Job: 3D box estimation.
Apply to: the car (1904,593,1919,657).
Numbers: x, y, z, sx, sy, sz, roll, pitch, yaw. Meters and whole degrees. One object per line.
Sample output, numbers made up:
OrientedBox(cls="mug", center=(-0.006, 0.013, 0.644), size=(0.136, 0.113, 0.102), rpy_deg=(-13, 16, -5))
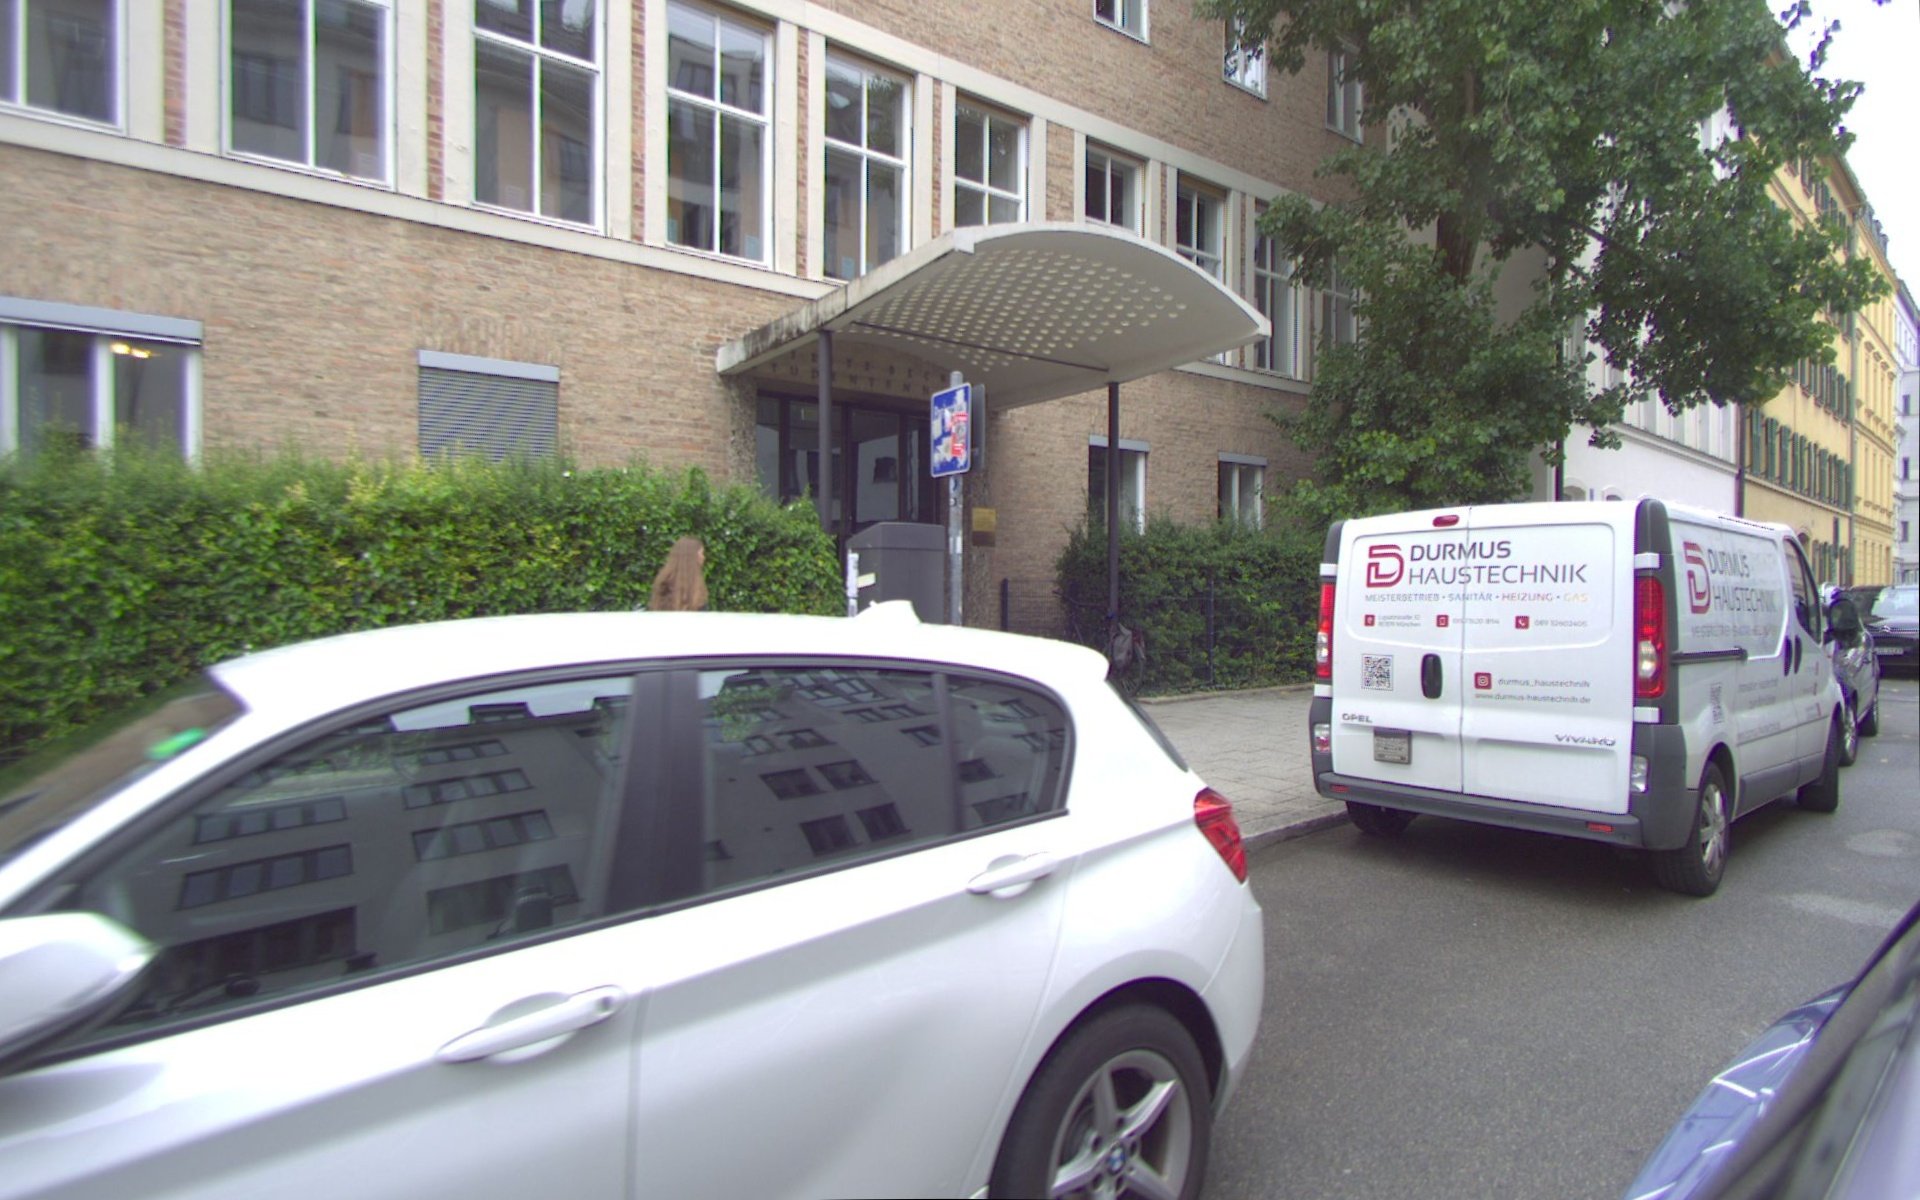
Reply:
OrientedBox(cls="car", center=(23.714, 0.569, 23.961), size=(4.382, 1.442, 1.715), rpy_deg=(-1, 1, -43))

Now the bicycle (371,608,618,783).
OrientedBox(cls="bicycle", center=(-3.121, 0.594, 6.862), size=(1.461, 1.067, 0.423), rpy_deg=(0, 0, -38))

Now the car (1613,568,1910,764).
OrientedBox(cls="car", center=(8.371, 0.523, 10.433), size=(4.144, 1.620, 1.810), rpy_deg=(0, 1, -43))

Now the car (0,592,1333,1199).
OrientedBox(cls="car", center=(-1.217, 0.710, 1.887), size=(4.124, 1.435, 1.677), rpy_deg=(0, 0, -38))

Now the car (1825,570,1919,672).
OrientedBox(cls="car", center=(18.250, 0.351, 19.443), size=(4.128, 1.799, 1.849), rpy_deg=(-1, -1, -41))

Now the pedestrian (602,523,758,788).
OrientedBox(cls="pedestrian", center=(-1.882, 0.344, 6.816), size=(0.860, 1.653, 0.589), rpy_deg=(0, -1, -36))

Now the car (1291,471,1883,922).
OrientedBox(cls="car", center=(4.350, 0.397, 6.640), size=(4.787, 1.948, 1.886), rpy_deg=(0, 1, -40))
